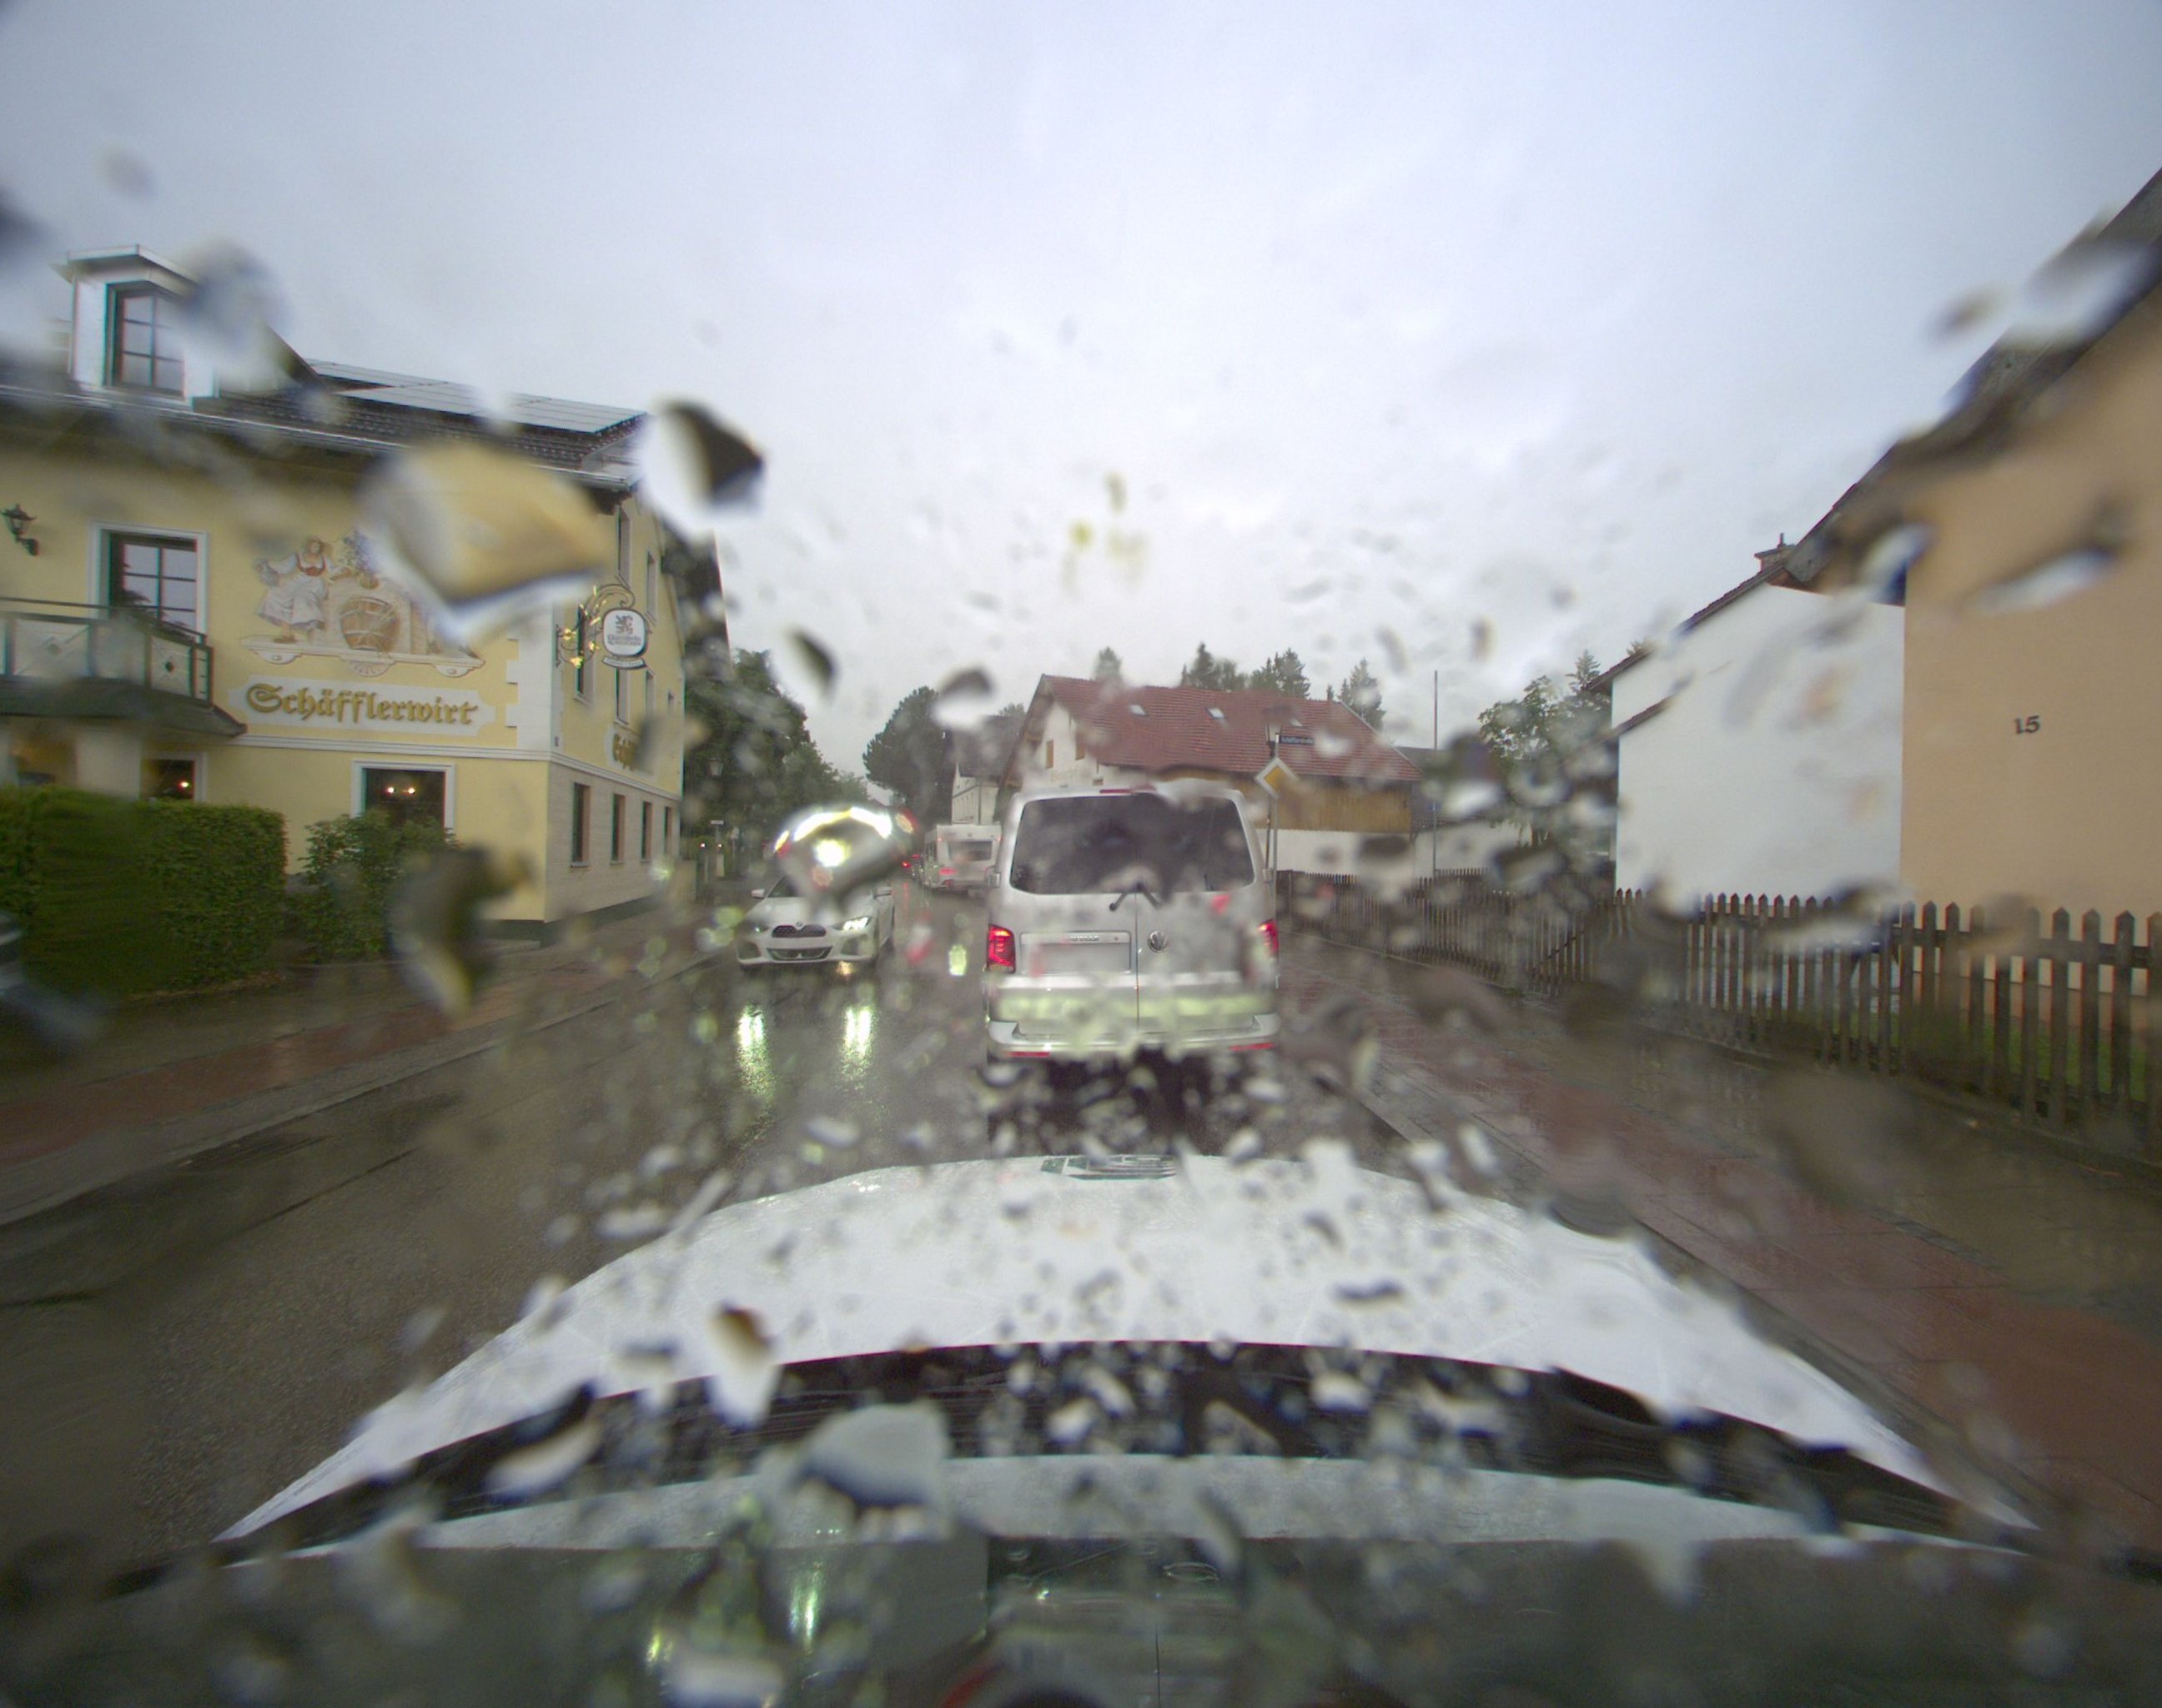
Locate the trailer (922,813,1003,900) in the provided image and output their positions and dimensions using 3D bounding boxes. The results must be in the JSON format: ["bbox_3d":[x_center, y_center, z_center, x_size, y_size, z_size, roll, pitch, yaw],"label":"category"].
[{"bbox_3d":[-4.584,0.087,30.576,2.275,2.904,6.100,0,0,-15],"label":"trailer"}]

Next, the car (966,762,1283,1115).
[{"bbox_3d":[0.198,0.485,7.140,1.771,1.963,5.071,-1,0,-1],"label":"car"}]

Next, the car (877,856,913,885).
[{"bbox_3d":[-13.496,1.163,58.910,2.174,1.899,4.985,1,0,-17],"label":"car"}]

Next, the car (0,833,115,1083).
[{"bbox_3d":[-8.998,0.566,4.389,4.490,1.567,1.827,4,1,-20],"label":"car"}]

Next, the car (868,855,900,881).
[{"bbox_3d":[-16.217,1.114,66.948,2.174,1.899,4.985,1,0,-17],"label":"car"}]

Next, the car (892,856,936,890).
[{"bbox_3d":[-10.450,1.135,50.693,2.174,1.899,4.985,1,0,-17],"label":"car"}]

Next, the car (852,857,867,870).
[{"bbox_3d":[-34.802,1.523,127.822,2.174,1.899,4.985,1,0,-17],"label":"car"}]

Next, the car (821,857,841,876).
[{"bbox_3d":[-25.146,1.195,81.976,1.867,1.758,4.457,-3,1,-17],"label":"car"}]

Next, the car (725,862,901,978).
[{"bbox_3d":[-3.892,0.856,12.611,1.862,1.359,4.469,-1,0,-9],"label":"car"}]

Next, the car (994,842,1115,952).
[{"bbox_3d":[-0.641,0.628,14.571,1.707,1.584,4.674,-2,1,-7],"label":"car"}]

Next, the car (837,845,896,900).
[{"bbox_3d":[-7.924,0.639,29.954,1.866,1.758,4.458,-3,1,-16],"label":"car"}]

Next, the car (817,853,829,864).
[{"bbox_3d":[-45.114,0.776,142.374,1.867,1.758,4.457,-3,1,-17],"label":"car"}]
